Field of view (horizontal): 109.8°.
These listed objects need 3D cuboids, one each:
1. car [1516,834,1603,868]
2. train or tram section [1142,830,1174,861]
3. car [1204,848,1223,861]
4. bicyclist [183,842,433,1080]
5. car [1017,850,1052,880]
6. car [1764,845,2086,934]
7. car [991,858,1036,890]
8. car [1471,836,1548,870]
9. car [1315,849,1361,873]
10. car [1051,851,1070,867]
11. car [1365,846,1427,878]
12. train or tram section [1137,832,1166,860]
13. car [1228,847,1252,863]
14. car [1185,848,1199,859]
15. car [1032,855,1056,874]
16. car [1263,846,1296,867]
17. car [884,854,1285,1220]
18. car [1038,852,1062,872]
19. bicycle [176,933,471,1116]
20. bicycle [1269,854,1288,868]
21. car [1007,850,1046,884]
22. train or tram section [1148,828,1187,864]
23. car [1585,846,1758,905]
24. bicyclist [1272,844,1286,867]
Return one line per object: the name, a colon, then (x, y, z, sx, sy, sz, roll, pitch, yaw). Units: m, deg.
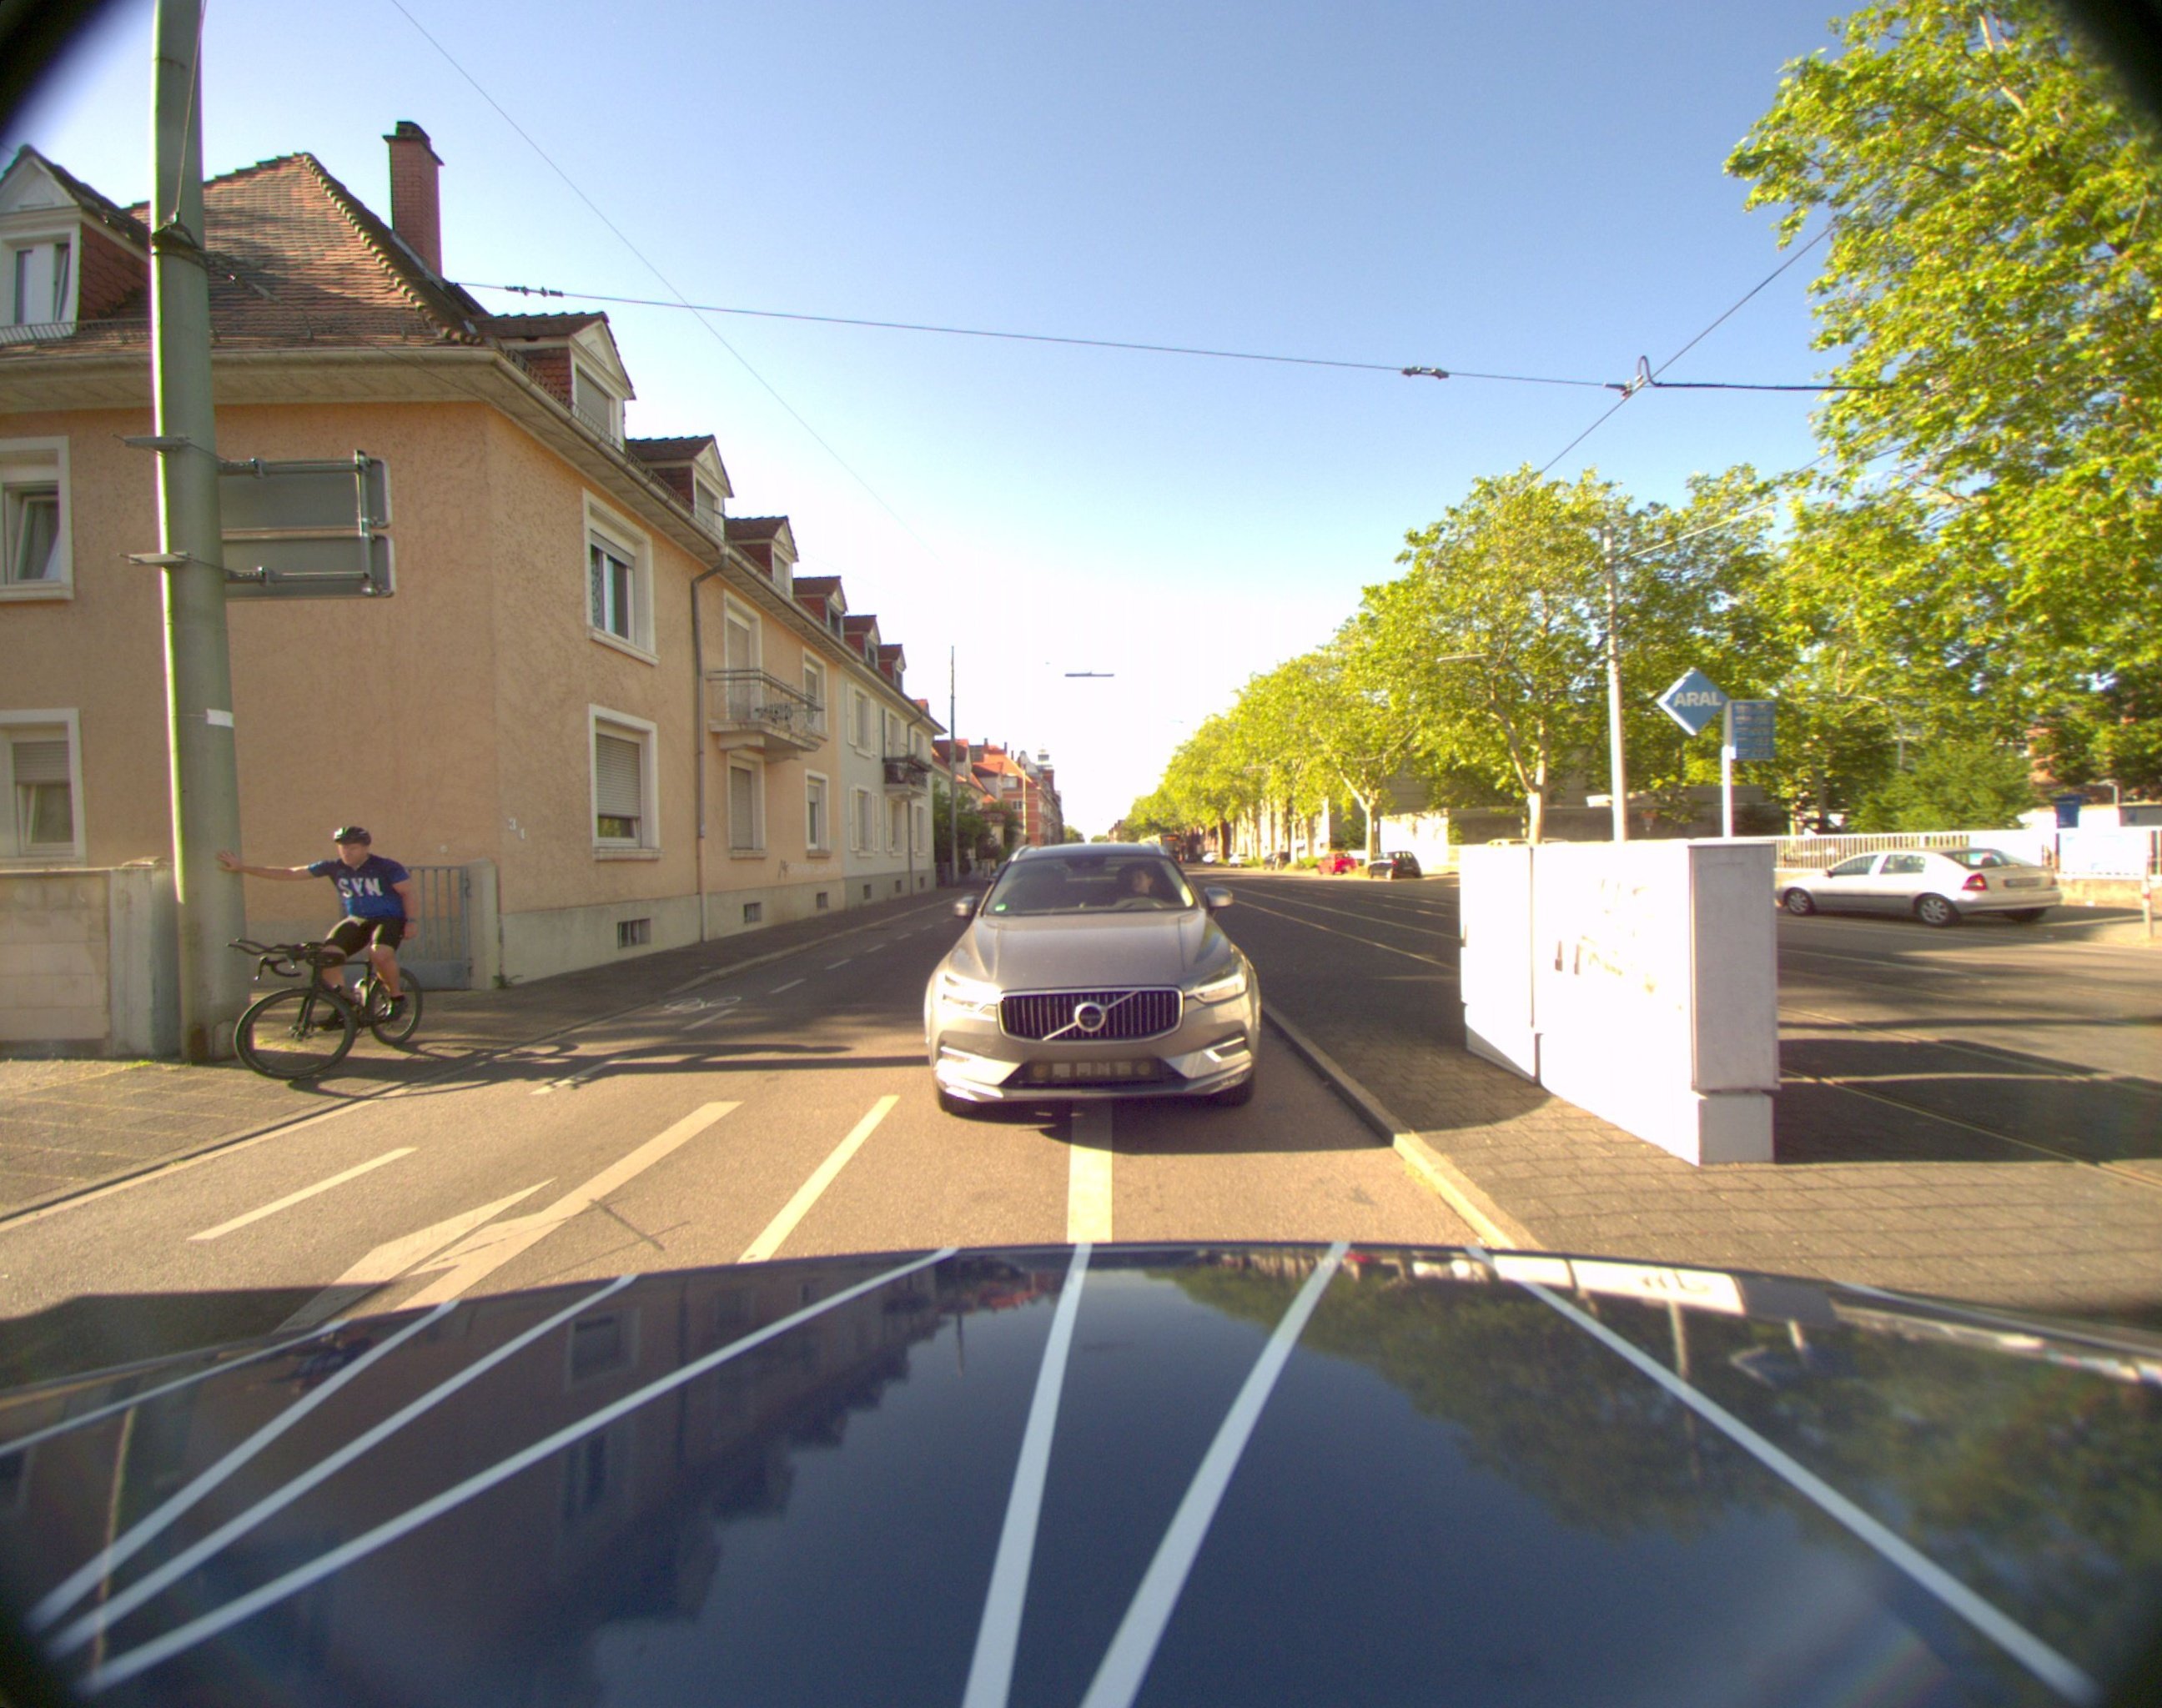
car: (24.036, -0.142, 38.354, 1.845, 1.524, 4.000, -4, 0, 2)
train or tram section: (9.102, -1.010, 90.763, 2.843, 3.456, 10.182, -2, 1, 1)
car: (17.580, 0.034, 100.922, 1.845, 1.664, 4.098, -4, 0, 3)
bicyclist: (-6.177, 0.802, 6.140, 1.071, 1.728, 0.853, 4, 1, 1)
car: (-2.803, 0.638, 46.744, 1.847, 1.681, 4.000, -1, 0, 0)
car: (16.232, 0.594, 14.993, 1.846, 1.400, 3.999, -4, 0, -1)
car: (-3.236, 0.928, 36.990, 1.847, 1.412, 3.999, -1, 0, -1)
car: (21.742, -0.058, 38.731, 1.845, 1.524, 4.001, -4, 0, 4)
car: (16.953, 0.415, 50.327, 1.845, 1.400, 4.000, -4, 0, 3)
car: (-2.256, 0.522, 85.497, 1.999, 1.641, 4.658, -1, 0, -1)
car: (16.959, 0.380, 41.103, 1.845, 1.524, 4.001, -4, 0, 4)
train or tram section: (9.279, -1.098, 100.903, 2.843, 3.456, 10.182, -2, 1, 1)
car: (17.477, 0.079, 83.560, 1.845, 1.664, 4.098, -4, 0, 3)
car: (18.350, -0.055, 125.426, 1.845, 1.664, 4.098, -4, 0, 3)
car: (-2.888, 0.837, 60.419, 1.808, 1.402, 3.999, -1, 0, -1)
car: (17.158, 0.190, 65.911, 1.845, 1.607, 4.098, -4, 0, 3)
car: (-0.001, 0.876, 5.801, 1.892, 1.695, 4.318, -1, 0, -1)
car: (-2.685, 0.670, 65.783, 1.847, 1.681, 4.000, -1, 0, 0)
bicycle: (-5.931, 1.267, 6.113, 0.594, 1.045, 1.719, 4, 1, 1)
bicycle: (15.650, 0.539, 60.257, 0.654, 1.114, 2.531, -1, 0, -6)
car: (-2.971, 0.667, 42.301, 1.847, 1.742, 4.144, -1, 0, 0)
train or tram section: (9.020, -0.871, 80.608, 2.862, 3.456, 10.181, -2, 1, 0)
car: (16.513, 0.543, 21.566, 1.845, 1.400, 4.138, -4, 0, 4)
bicyclist: (15.699, 0.119, 60.303, 0.721, 1.853, 1.070, -1, 1, -6)
